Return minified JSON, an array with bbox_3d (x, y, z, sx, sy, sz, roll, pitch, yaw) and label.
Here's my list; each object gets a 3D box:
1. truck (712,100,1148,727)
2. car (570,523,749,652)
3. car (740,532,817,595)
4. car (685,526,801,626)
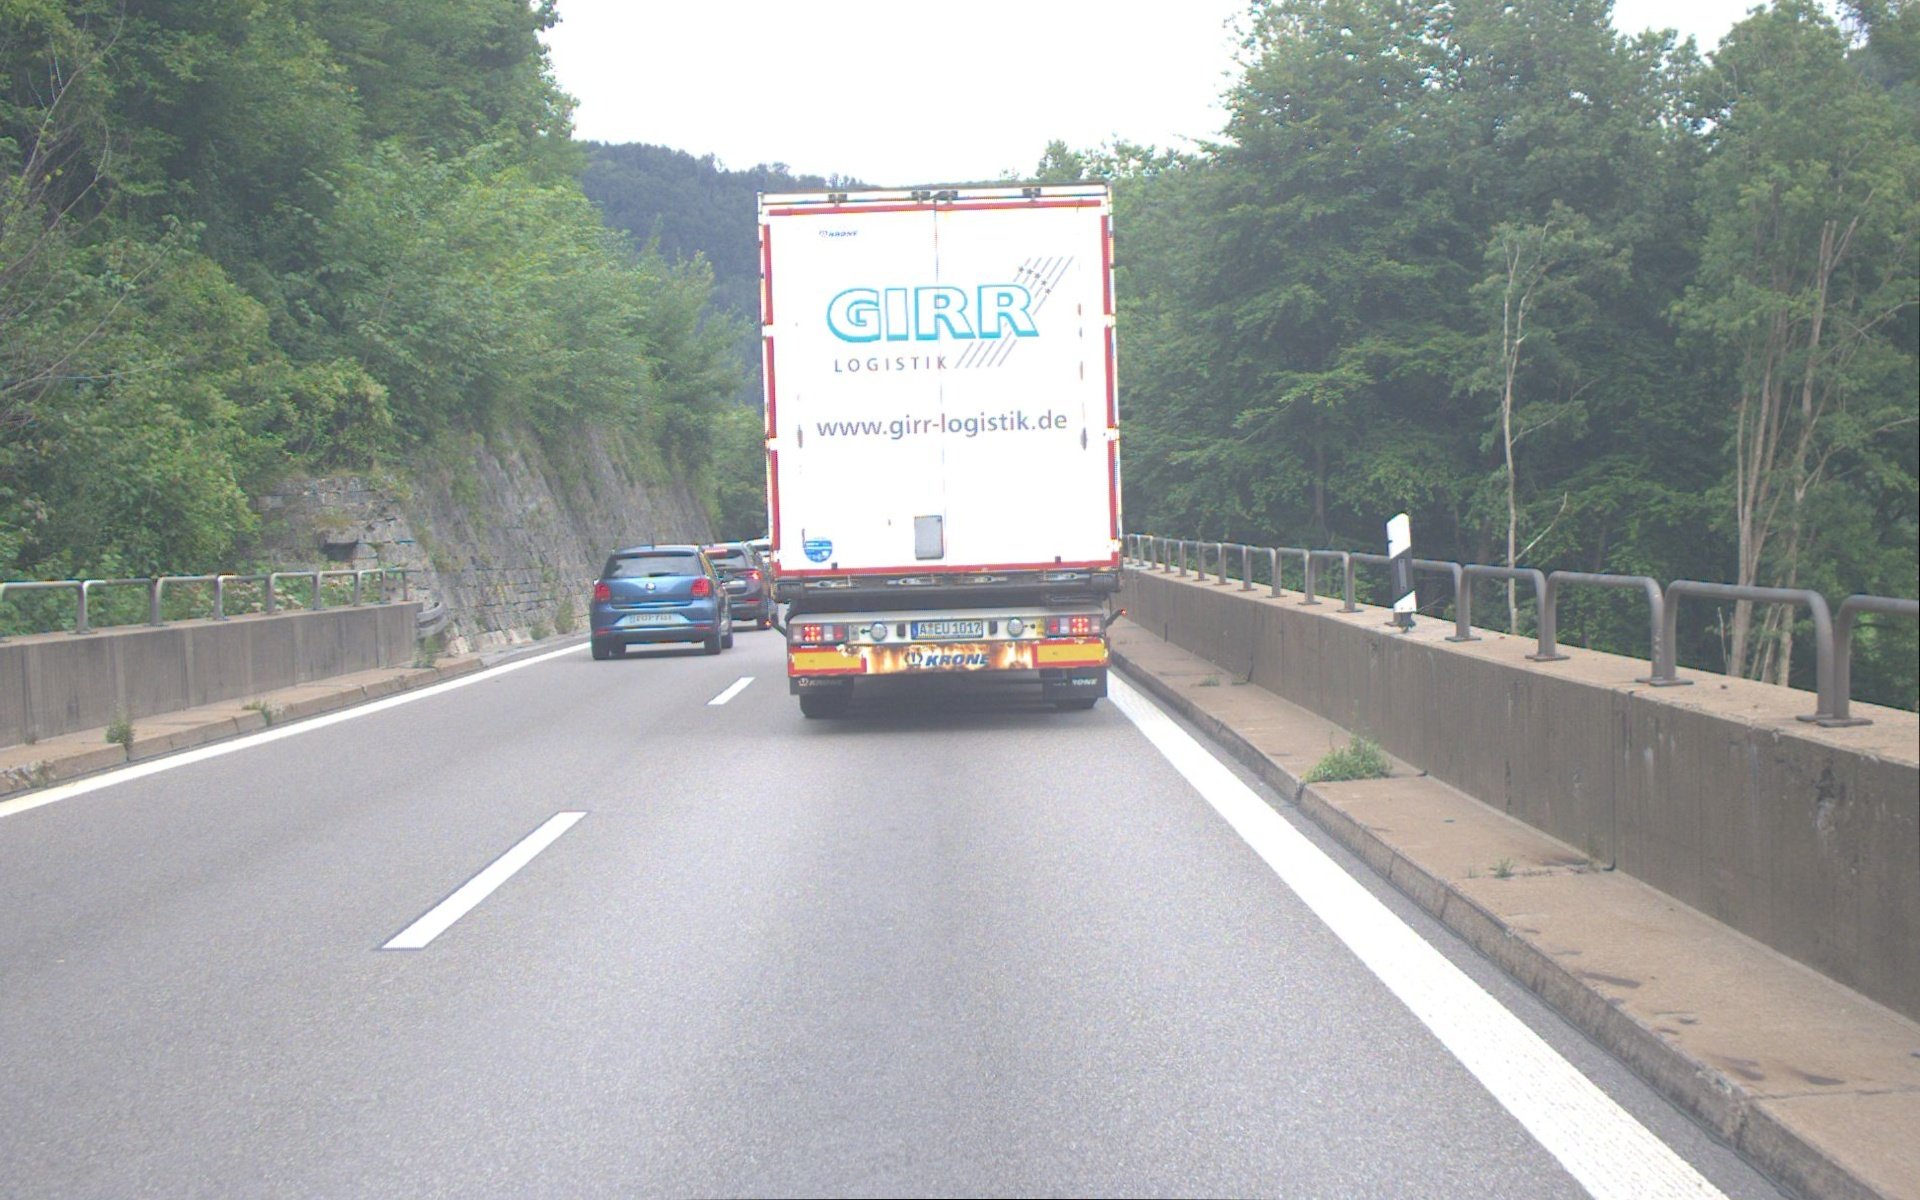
[{"bbox_3d":[-0.228,-1.475,32.079,3.084,4.448,15.156,0,1,0],"label":"truck"},{"bbox_3d":[-3.894,-0.184,45.200,1.993,1.590,4.354,1,1,0],"label":"car"},{"bbox_3d":[-4.430,-0.916,84.191,1.745,1.481,4.000,0,1,-1],"label":"car"},{"bbox_3d":[-3.558,-0.387,56.950,1.745,1.581,4.000,1,0,-1],"label":"car"}]
